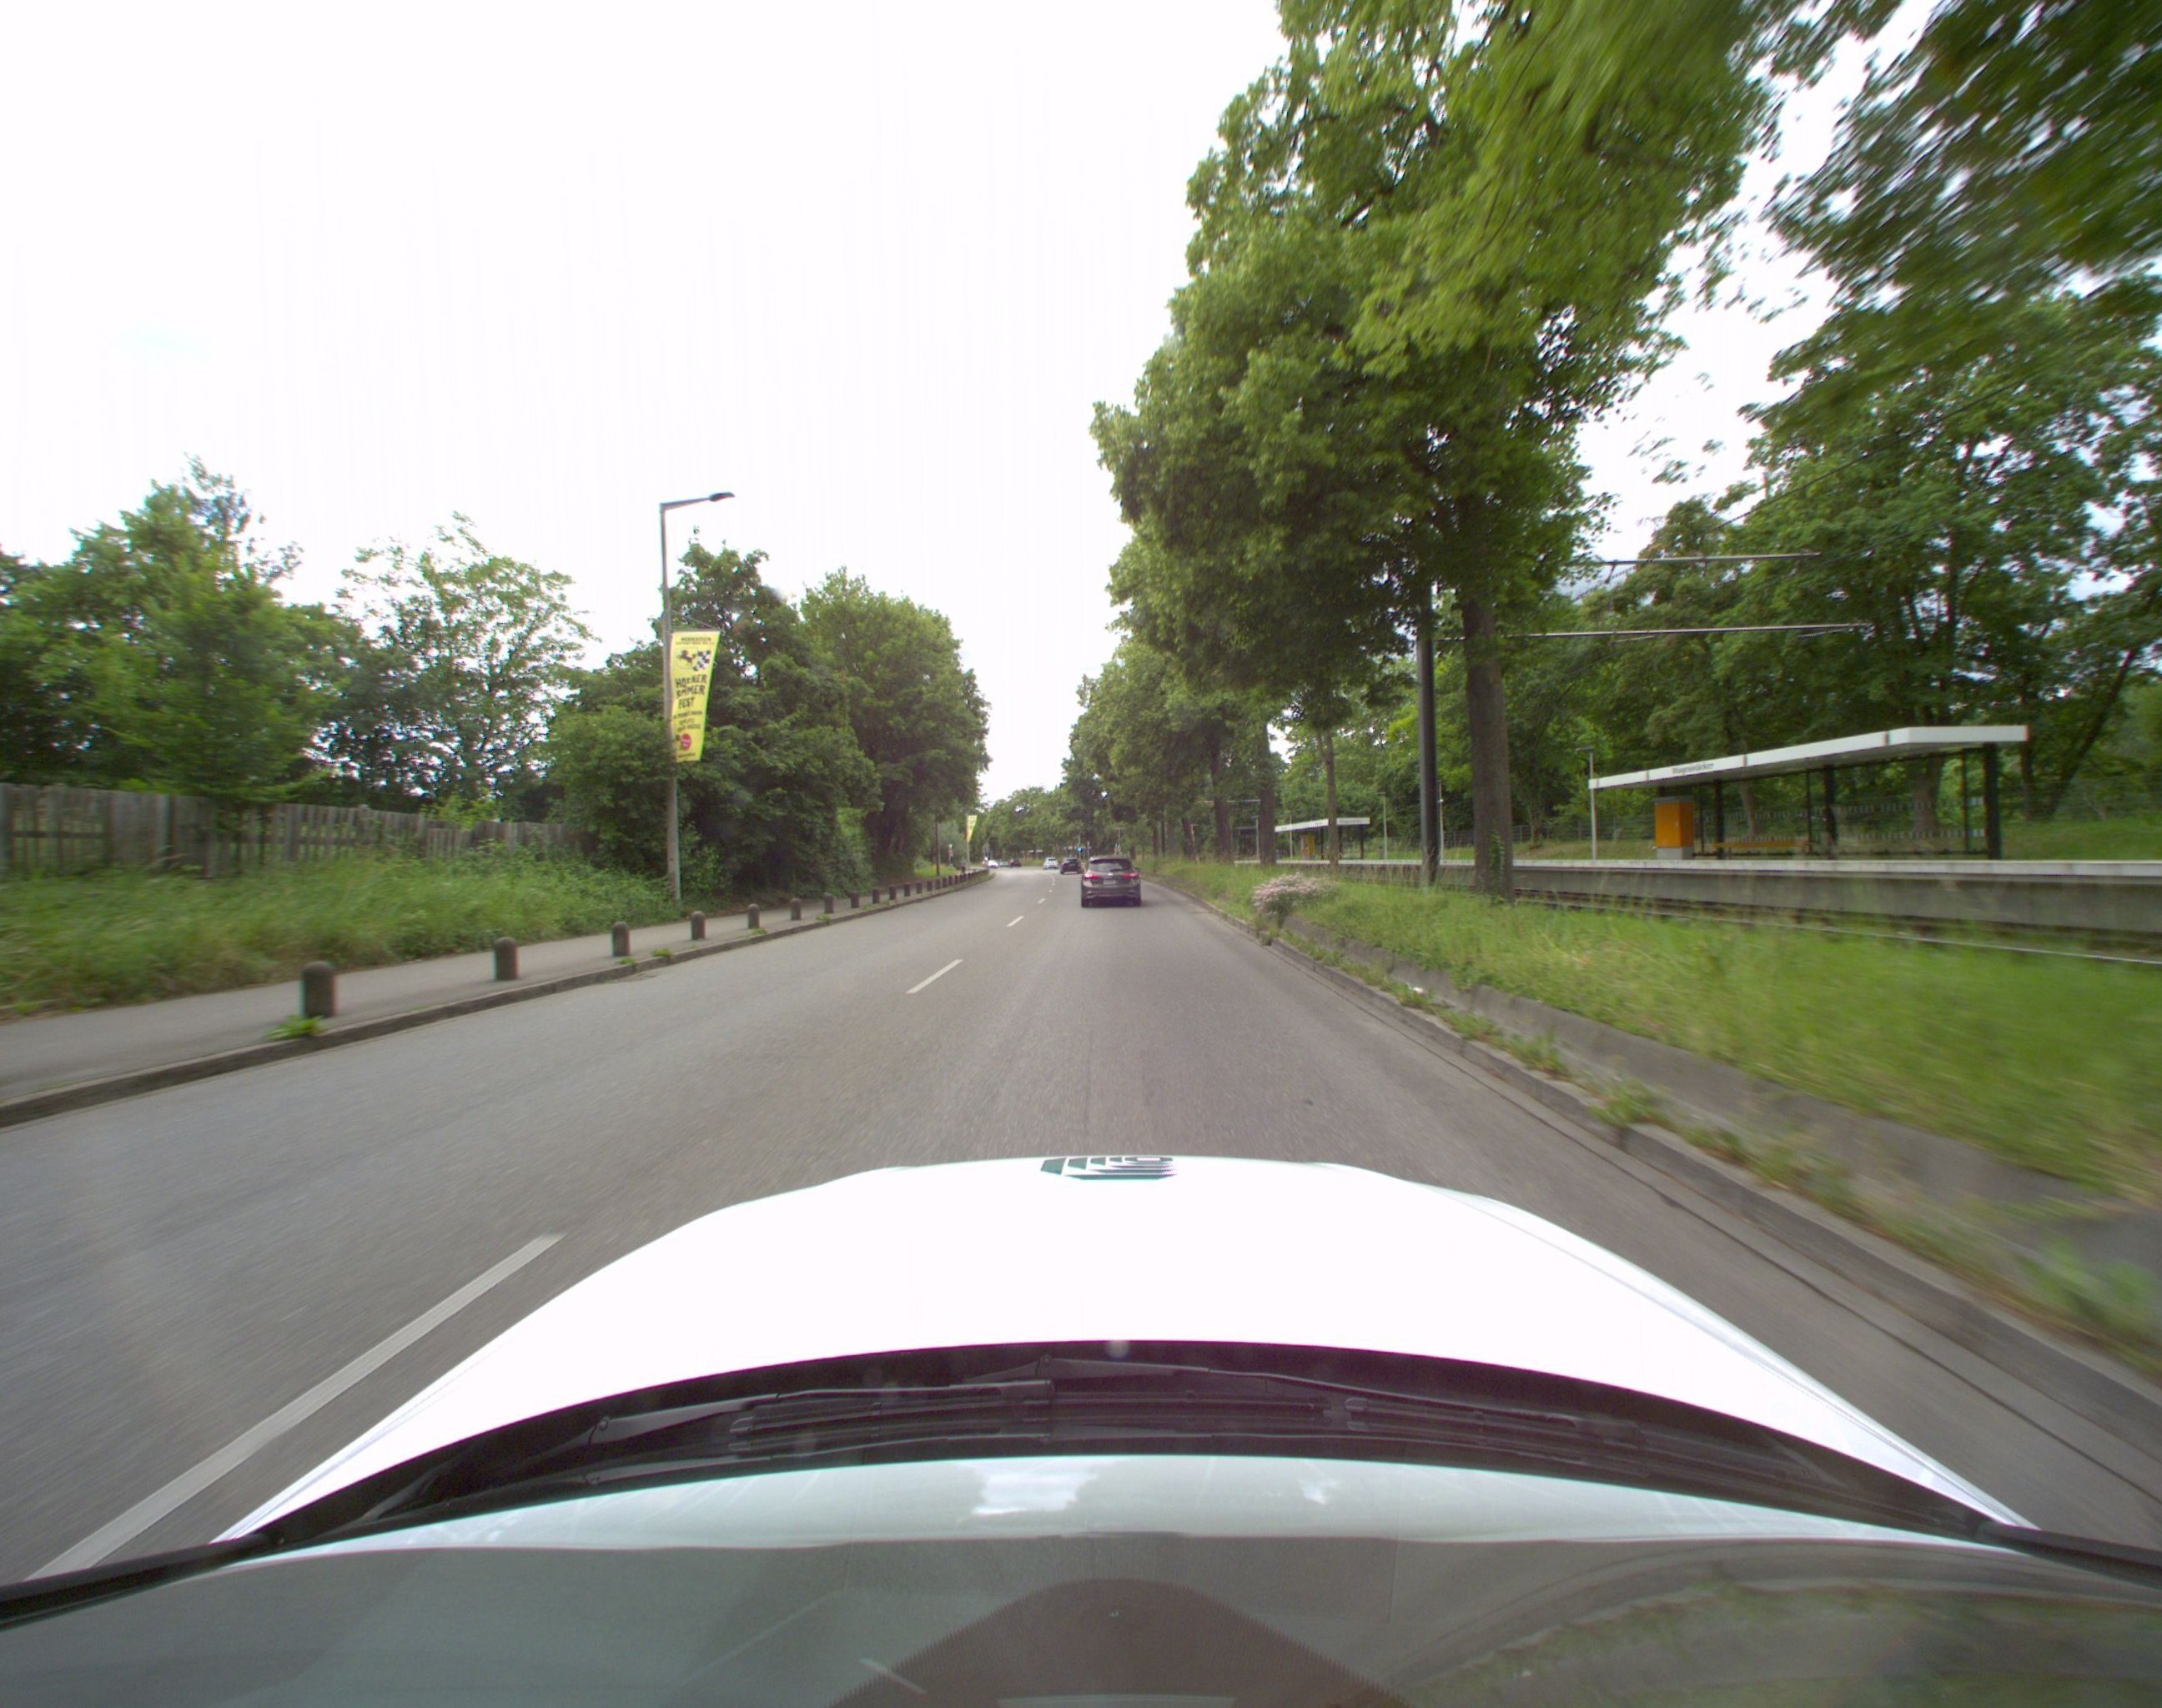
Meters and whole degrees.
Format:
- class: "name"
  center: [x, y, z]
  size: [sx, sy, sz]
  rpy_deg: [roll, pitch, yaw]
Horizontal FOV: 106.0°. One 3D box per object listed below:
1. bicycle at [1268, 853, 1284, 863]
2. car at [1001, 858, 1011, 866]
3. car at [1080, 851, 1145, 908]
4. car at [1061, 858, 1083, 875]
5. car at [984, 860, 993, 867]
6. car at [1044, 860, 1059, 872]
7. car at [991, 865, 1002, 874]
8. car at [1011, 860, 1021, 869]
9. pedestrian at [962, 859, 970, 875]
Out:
- class: "bicycle"
  center: [18.776, 0.388, 78.415]
  size: [1.507, 0.973, 0.449]
  rpy_deg: [0, -1, -7]
- class: "car"
  center: [-14.470, 1.558, 156.816]
  size: [1.773, 1.472, 3.993]
  rpy_deg: [-1, 0, -5]
- class: "car"
  center: [0.947, 0.731, 25.311]
  size: [1.809, 1.508, 4.001]
  rpy_deg: [-3, 1, 1]
- class: "car"
  center: [-0.781, 1.108, 72.378]
  size: [1.769, 1.472, 4.001]
  rpy_deg: [0, -1, 1]
- class: "car"
  center: [-20.318, 2.049, 179.564]
  size: [1.773, 1.472, 3.993]
  rpy_deg: [0, -1, -5]
- class: "car"
  center: [-3.752, 1.538, 103.744]
  size: [1.771, 1.472, 3.997]
  rpy_deg: [0, -1, -2]
- class: "car"
  center: [-14.590, 2.647, 140.651]
  size: [1.770, 1.439, 4.353]
  rpy_deg: [-3, 0, -5]
- class: "car"
  center: [-11.303, 1.772, 141.170]
  size: [1.773, 1.472, 3.993]
  rpy_deg: [-1, 0, -5]
- class: "pedestrian"
  center: [-11.434, 1.281, 80.960]
  size: [0.688, 1.634, 0.837]
  rpy_deg: [0, -1, -4]
